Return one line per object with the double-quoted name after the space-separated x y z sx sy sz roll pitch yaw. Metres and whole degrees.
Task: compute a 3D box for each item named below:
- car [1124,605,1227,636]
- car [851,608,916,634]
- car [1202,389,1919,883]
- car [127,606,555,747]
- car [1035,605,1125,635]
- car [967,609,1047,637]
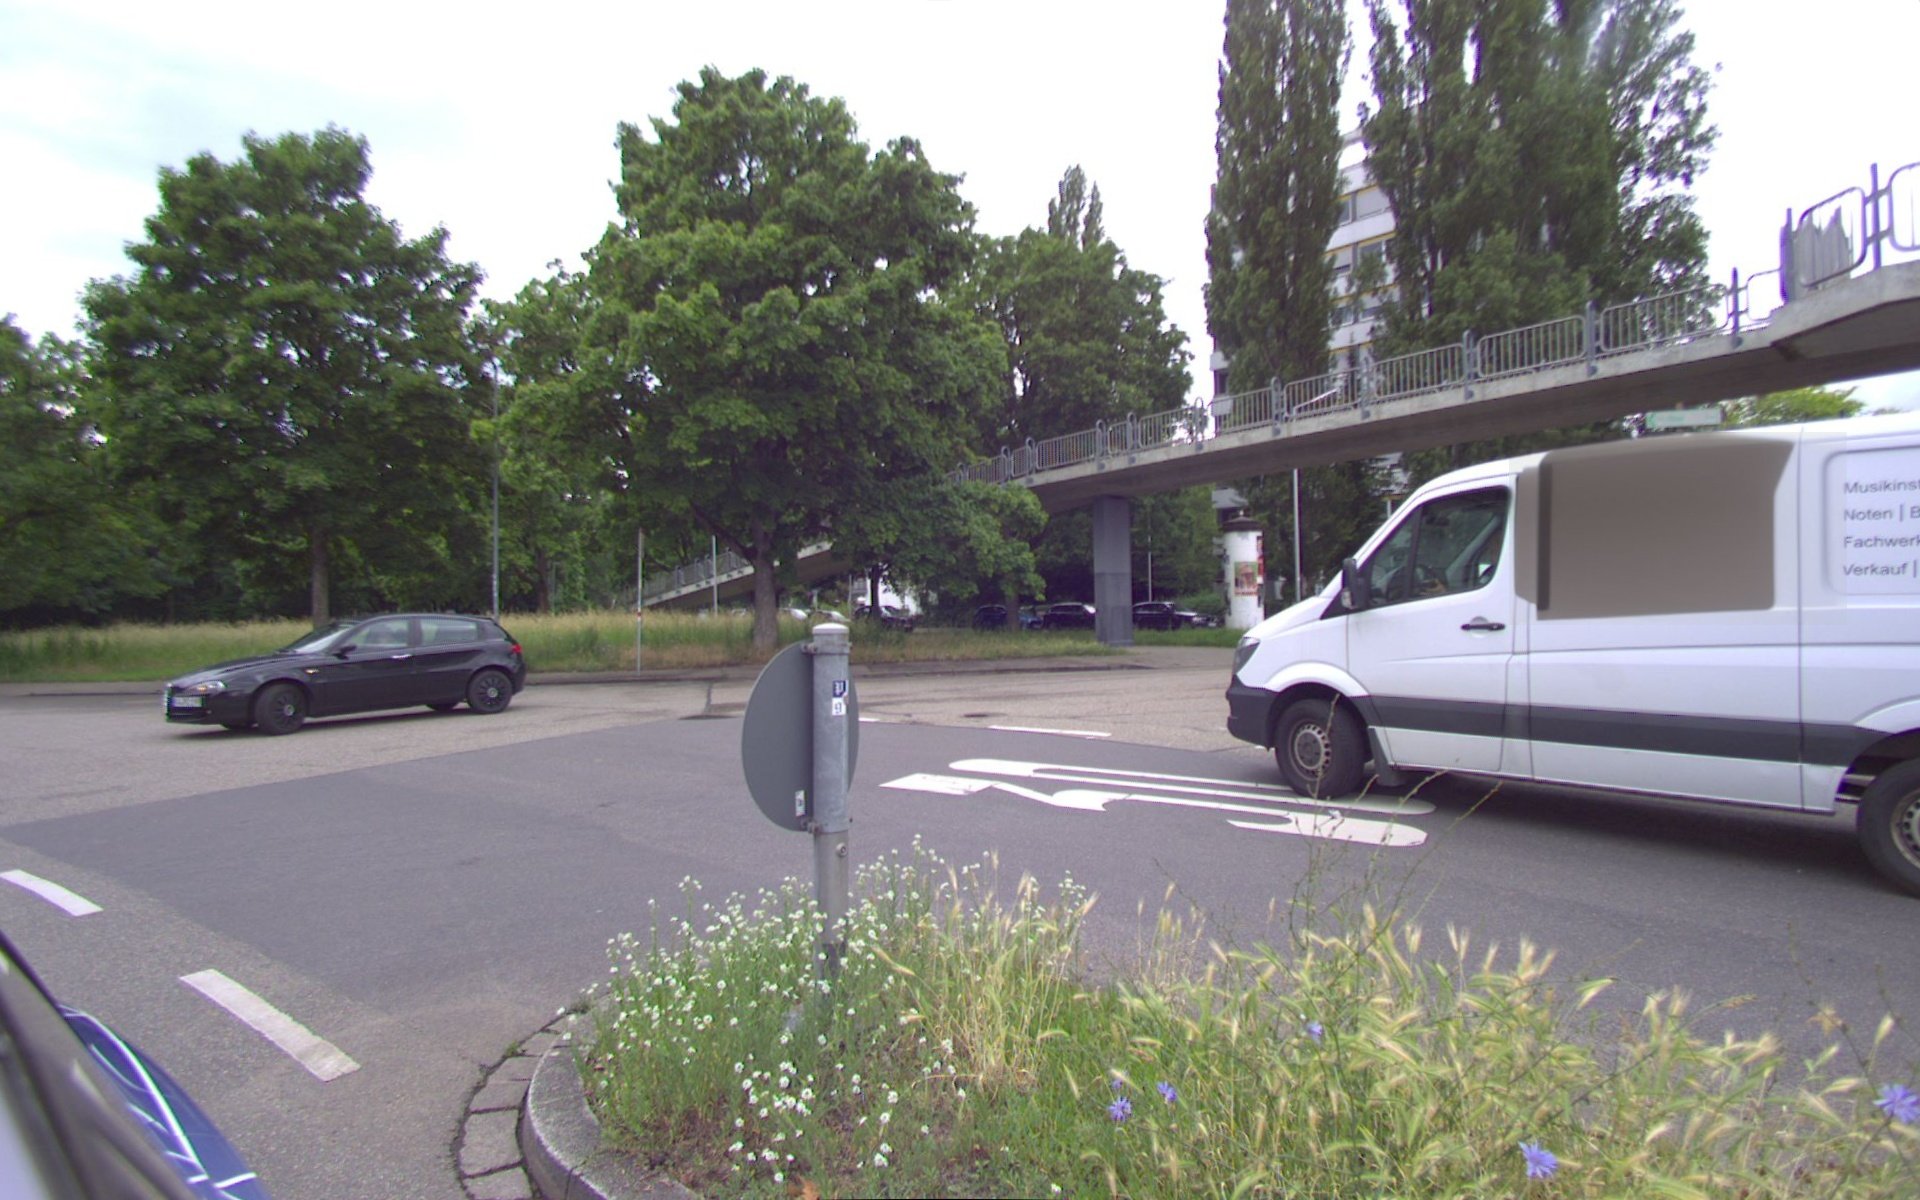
8.884 0.841 41.940 1.667 1.214 4.007 -1 0 -39 "car"
-4.383 1.195 57.458 1.667 1.361 4.007 -1 0 -39 "car"
4.362 0.171 6.423 2.108 2.309 5.213 0 0 -43 "car"
-7.918 0.858 13.329 1.802 1.468 4.479 -2 0 40 "car"
5.435 0.899 46.172 1.667 1.256 4.007 -1 0 -39 "car"
2.285 1.129 49.885 1.667 1.247 4.007 -1 0 -39 "car"
